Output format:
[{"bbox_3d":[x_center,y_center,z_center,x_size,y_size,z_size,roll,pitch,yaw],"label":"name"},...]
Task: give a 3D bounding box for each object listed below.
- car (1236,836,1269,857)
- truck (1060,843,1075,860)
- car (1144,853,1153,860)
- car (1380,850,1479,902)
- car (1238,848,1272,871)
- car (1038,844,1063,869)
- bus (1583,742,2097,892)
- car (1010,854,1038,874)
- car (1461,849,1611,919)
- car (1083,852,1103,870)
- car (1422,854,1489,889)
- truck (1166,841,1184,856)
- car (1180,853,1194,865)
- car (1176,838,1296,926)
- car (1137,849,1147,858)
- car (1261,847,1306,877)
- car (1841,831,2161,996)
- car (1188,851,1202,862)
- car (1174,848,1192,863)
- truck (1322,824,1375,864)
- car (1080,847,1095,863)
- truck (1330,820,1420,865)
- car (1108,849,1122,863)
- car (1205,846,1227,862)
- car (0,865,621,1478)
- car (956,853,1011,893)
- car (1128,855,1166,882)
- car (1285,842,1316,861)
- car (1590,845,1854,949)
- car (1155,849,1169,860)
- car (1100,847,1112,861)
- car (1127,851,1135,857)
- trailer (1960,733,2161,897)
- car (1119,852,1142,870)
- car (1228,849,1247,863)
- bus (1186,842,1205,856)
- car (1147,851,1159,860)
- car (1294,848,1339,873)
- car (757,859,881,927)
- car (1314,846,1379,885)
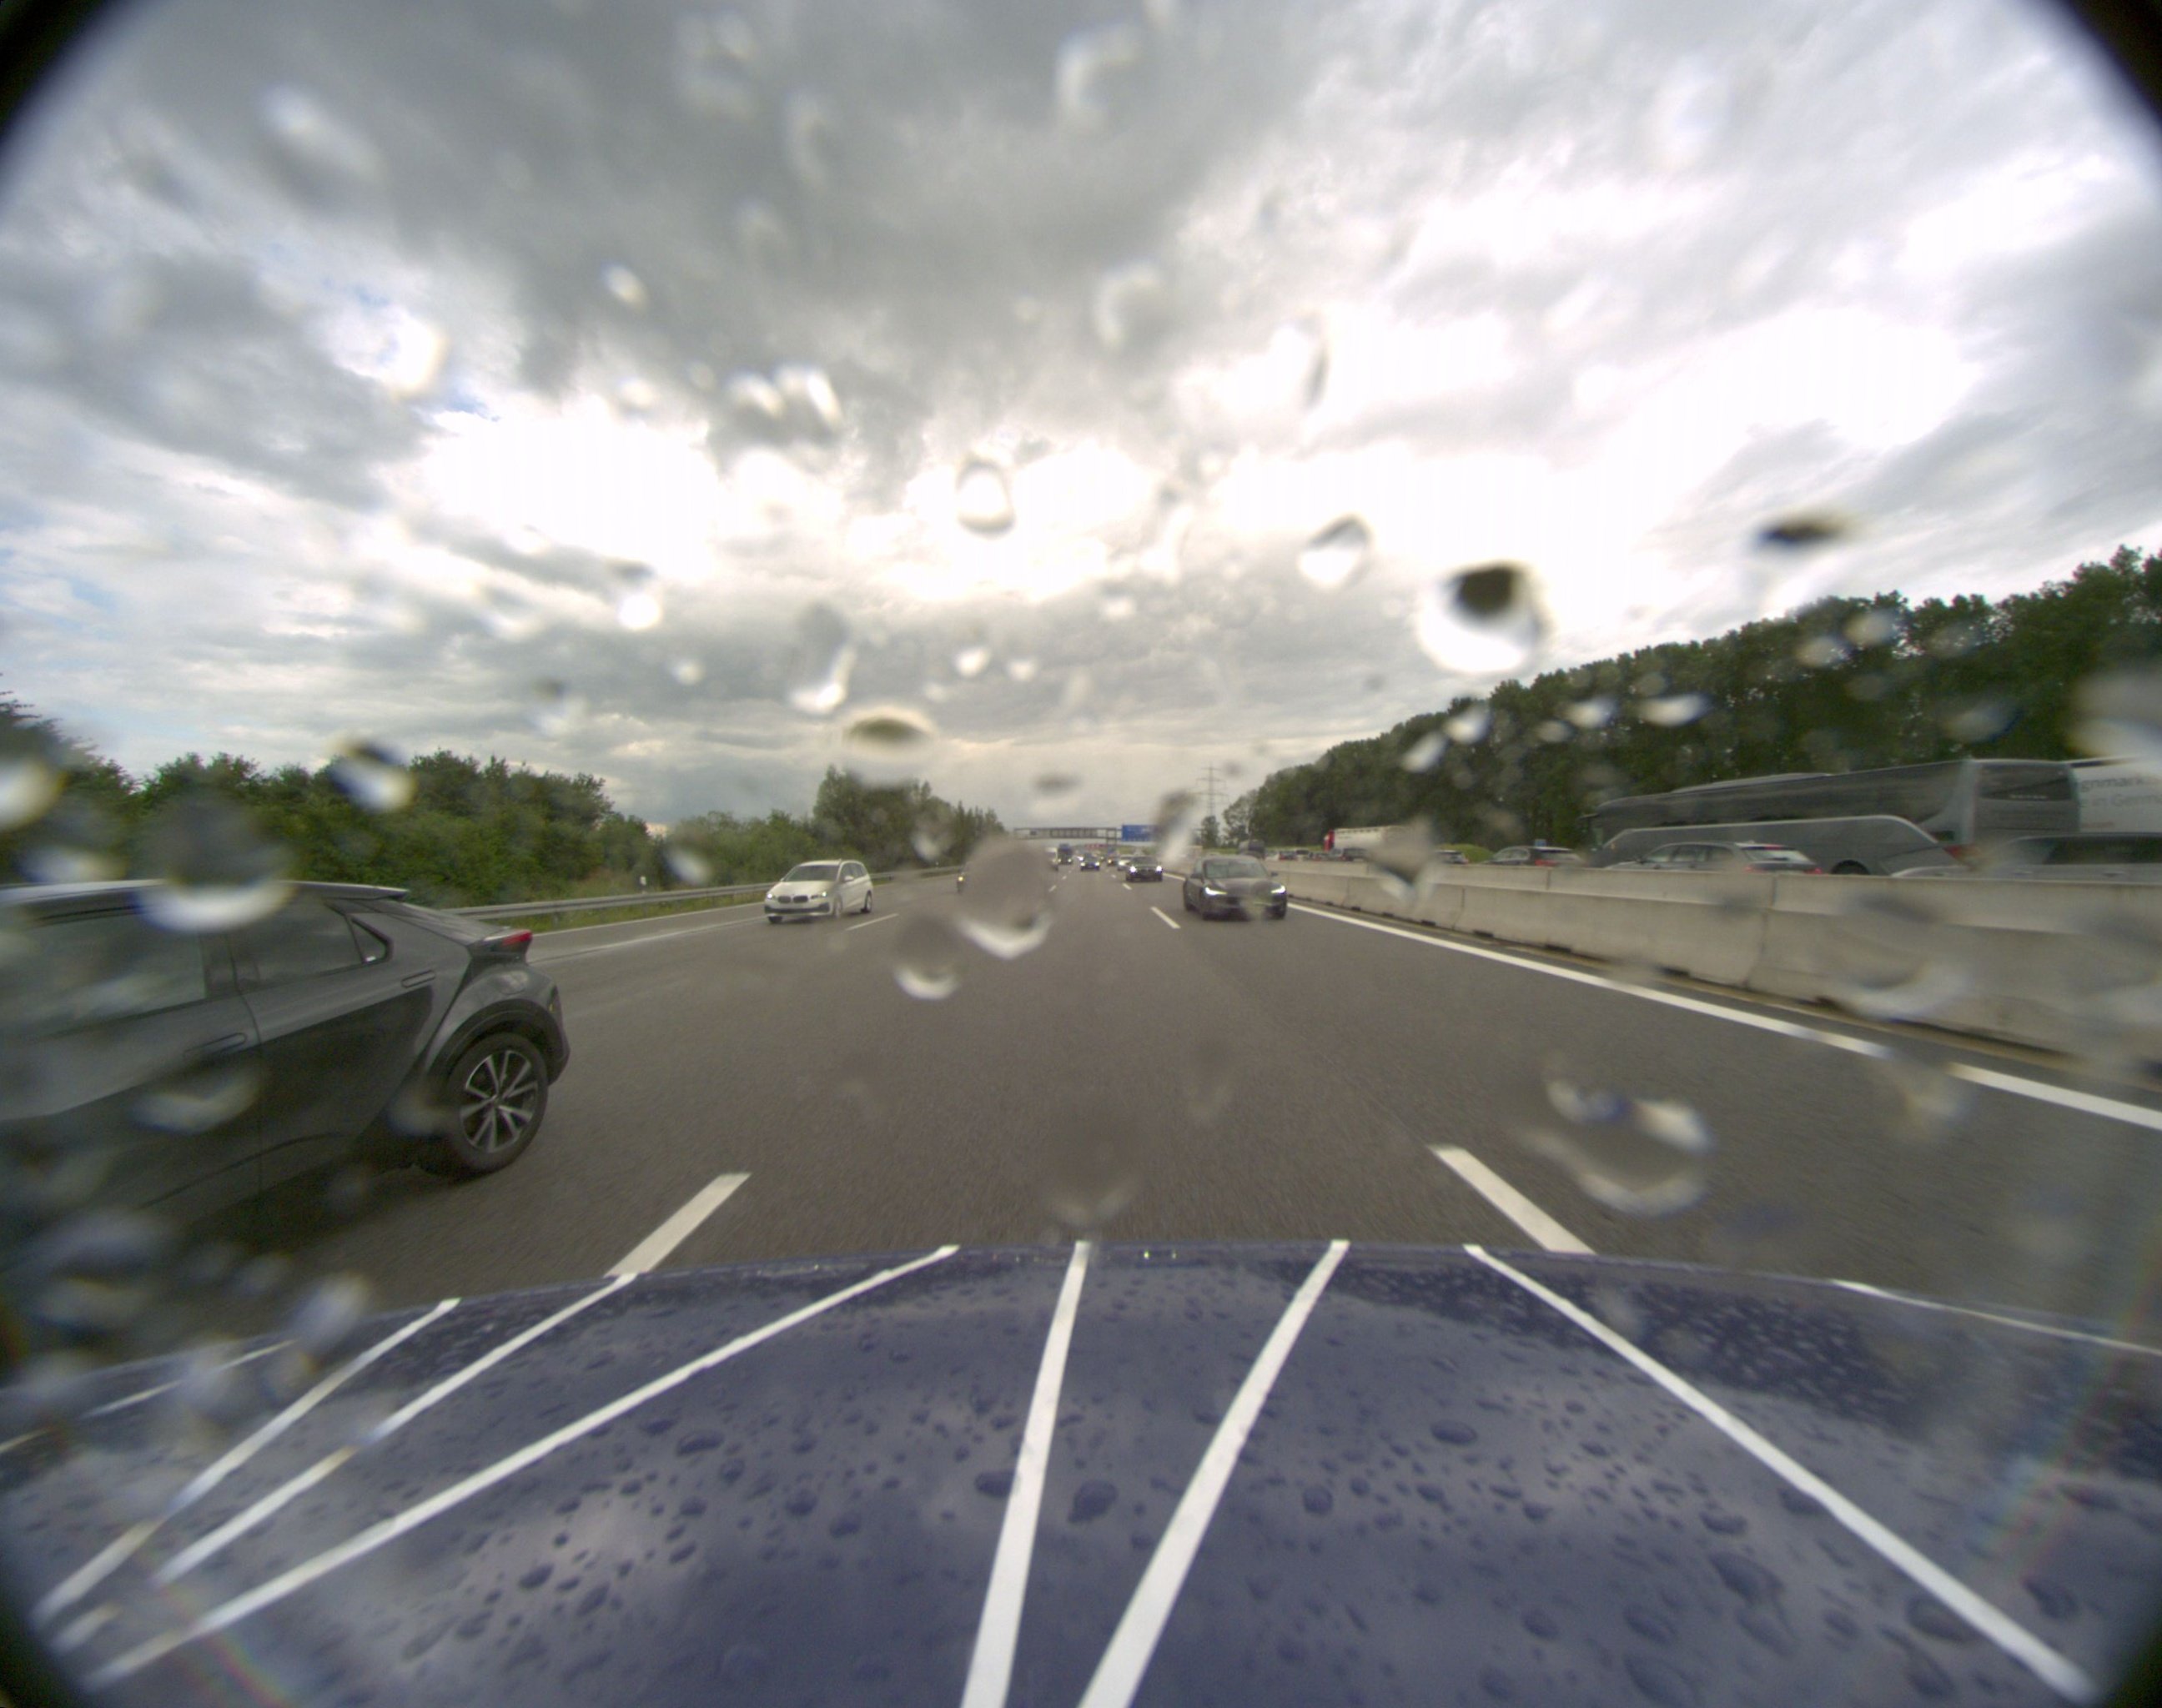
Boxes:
[{"bbox_3d":[18.951,-0.771,84.296,2.265,2.152,6.817,-2,0,1],"label":"car"},{"bbox_3d":[-2.304,-0.370,127.698,2.391,2.726,6.592,-2,0,-2],"label":"truck"},{"bbox_3d":[19.252,0.625,216.924,1.999,1.922,4.638,-2,0,0],"label":"car"},{"bbox_3d":[14.435,0.858,31.817,1.998,1.956,4.696,-2,0,1],"label":"car"},{"bbox_3d":[15.646,0.479,68.518,1.998,1.956,4.696,-2,0,1],"label":"car"},{"bbox_3d":[-3.091,0.235,77.952,2.145,2.486,5.448,-2,0,1],"label":"car"},{"bbox_3d":[21.992,-0.872,24.382,2.694,3.365,13.998,-2,0,1],"label":"bus"},{"bbox_3d":[-4.519,0.782,60.879,1.945,1.482,4.775,-2,0,-1],"label":"car"},{"bbox_3d":[14.234,0.866,24.169,1.998,1.956,4.696,-2,0,1],"label":"car"},{"bbox_3d":[1.107,0.606,70.733,1.711,1.562,4.347,-2,0,2],"label":"car"},{"bbox_3d":[22.994,1.021,46.834,1.998,2.002,4.227,-2,0,0],"label":"car"},{"bbox_3d":[26.862,-1.541,218.186,3.156,4.288,13.950,-2,0,0],"label":"truck"},{"bbox_3d":[18.906,0.862,135.600,1.854,2.002,4.536,-2,0,-1],"label":"car"},{"bbox_3d":[3.608,0.577,18.639,1.998,1.810,5.163,-2,0,2],"label":"car"},{"bbox_3d":[14.614,-0.163,182.840,1.998,2.002,4.763,-2,0,0],"label":"car"},{"bbox_3d":[14.348,0.523,54.138,1.998,1.956,4.696,-2,0,1],"label":"car"},{"bbox_3d":[14.224,0.706,10.885,1.998,2.002,4.696,-2,0,1],"label":"car"},{"bbox_3d":[22.406,0.507,149.288,1.999,2.002,4.808,-2,0,-1],"label":"car"},{"bbox_3d":[14.769,0.208,110.329,1.998,2.002,4.264,-2,0,0],"label":"car"},{"bbox_3d":[26.750,-0.981,76.291,3.158,3.690,6.318,-2,0,1],"label":"truck"},{"bbox_3d":[1.105,0.147,124.107,2.145,2.486,5.448,-2,0,2],"label":"car"},{"bbox_3d":[26.664,-0.984,69.973,3.156,3.723,13.298,-2,0,1],"label":"truck"},{"bbox_3d":[4.280,0.220,96.436,1.711,1.621,4.000,-2,0,2],"label":"car"},{"bbox_3d":[15.308,0.029,86.177,1.808,1.709,4.000,-2,0,1],"label":"car"},{"bbox_3d":[-3.823,0.902,2.493,1.785,1.603,4.597,-2,0,0],"label":"car"},{"bbox_3d":[-4.412,0.819,34.856,1.711,1.621,4.457,-2,0,2],"label":"car"},{"bbox_3d":[3.595,0.752,42.213,1.922,1.407,4.001,-1,0,3],"label":"car"},{"bbox_3d":[22.558,-0.253,78.392,1.998,1.936,4.212,-2,0,1],"label":"car"},{"bbox_3d":[13.998,0.821,17.073,1.998,1.956,4.696,-2,0,1],"label":"car"},{"bbox_3d":[15.799,0.100,147.881,1.999,2.002,5.181,-2,0,-1],"label":"car"},{"bbox_3d":[4.724,0.006,142.064,2.145,2.486,5.448,-2,0,3],"label":"car"},{"bbox_3d":[14.755,-0.039,225.133,1.999,1.886,5.186,-2,0,0],"label":"car"},{"bbox_3d":[26.137,-0.910,16.835,2.867,3.740,9.160,-1,0,1],"label":"trailer"},{"bbox_3d":[4.547,0.619,70.272,1.822,1.565,4.000,-2,0,0],"label":"car"},{"bbox_3d":[23.539,0.290,114.602,1.998,2.002,4.227,-2,0,1],"label":"car"},{"bbox_3d":[26.670,-1.157,177.572,2.838,3.313,9.963,-2,0,1],"label":"bus"},{"bbox_3d":[15.361,0.355,161.490,1.999,1.844,4.635,-2,0,-2],"label":"car"},{"bbox_3d":[18.654,0.478,60.387,1.998,1.892,4.930,-2,0,0],"label":"car"},{"bbox_3d":[-7.130,0.992,21.230,1.815,1.589,4.695,-2,0,0],"label":"car"},{"bbox_3d":[14.522,0.585,41.863,1.998,1.956,4.696,-2,0,1],"label":"car"}]
